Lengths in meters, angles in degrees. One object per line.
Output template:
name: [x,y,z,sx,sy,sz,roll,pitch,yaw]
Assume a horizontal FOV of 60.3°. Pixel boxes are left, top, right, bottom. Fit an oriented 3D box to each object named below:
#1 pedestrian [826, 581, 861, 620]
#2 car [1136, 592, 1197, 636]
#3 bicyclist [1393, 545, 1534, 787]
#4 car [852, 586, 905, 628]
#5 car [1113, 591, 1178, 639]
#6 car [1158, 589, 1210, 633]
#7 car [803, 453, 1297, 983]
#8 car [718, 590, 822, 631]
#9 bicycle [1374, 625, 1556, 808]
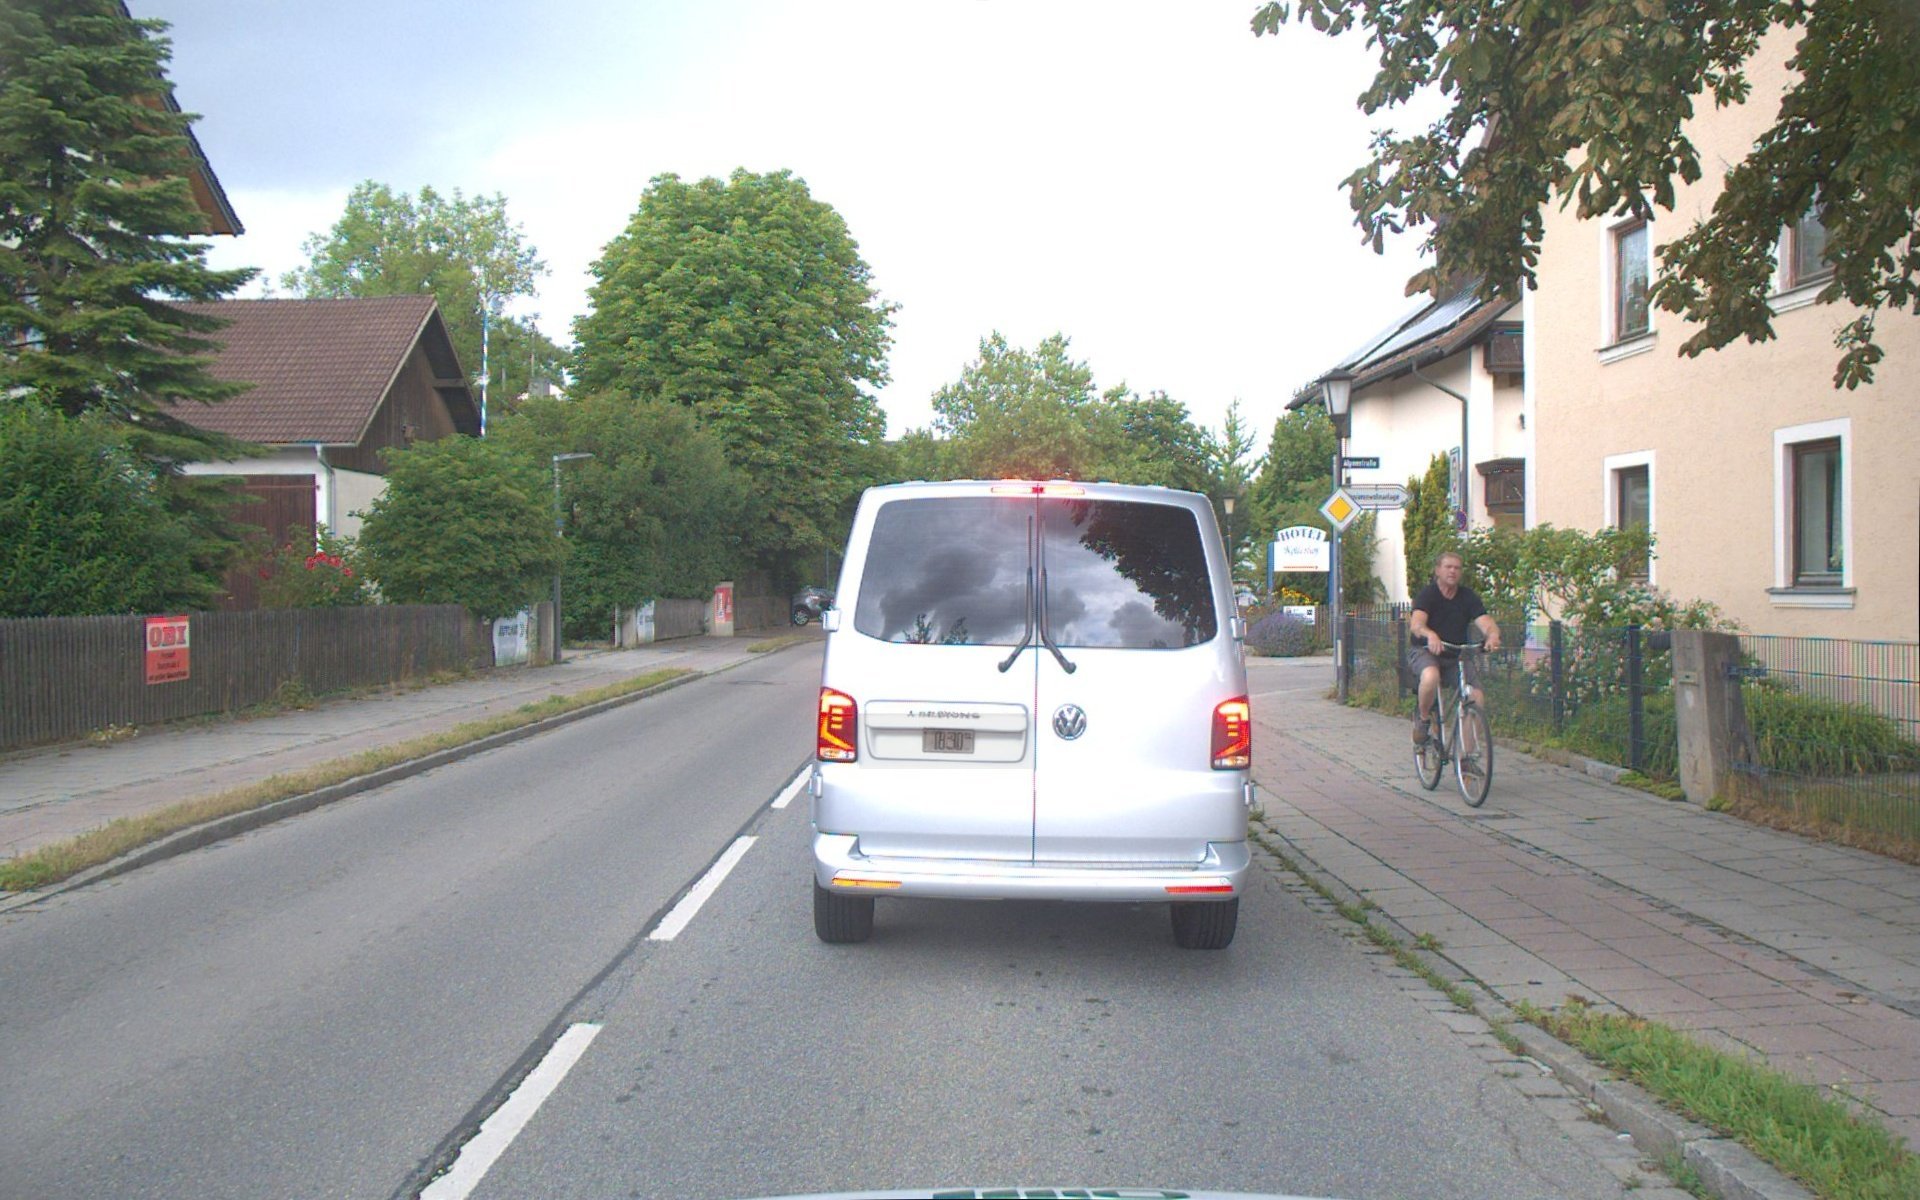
pedestrian: [-5.447,0.023,77.259,1.306,1.834,1.057,0,0,-32]
car: [7.744,0.491,61.796,1.841,1.562,3.924,0,0,13]
bicyclist: [3.603,0.453,11.898,0.721,1.661,0.890,-1,0,1]
car: [-3.279,0.257,67.211,1.891,1.602,4.311,1,0,0]
car: [6.308,0.488,55.853,1.841,1.562,3.924,0,0,11]
car: [9.328,0.421,68.778,1.841,1.779,4.084,0,0,12]
car: [0.349,0.433,8.152,1.842,1.974,3.921,0,0,0]
car: [-7.317,0.394,63.475,3.912,1.512,1.996,0,0,-9]
bicycle: [3.600,0.790,11.952,0.749,1.163,1.845,-2,0,1]
